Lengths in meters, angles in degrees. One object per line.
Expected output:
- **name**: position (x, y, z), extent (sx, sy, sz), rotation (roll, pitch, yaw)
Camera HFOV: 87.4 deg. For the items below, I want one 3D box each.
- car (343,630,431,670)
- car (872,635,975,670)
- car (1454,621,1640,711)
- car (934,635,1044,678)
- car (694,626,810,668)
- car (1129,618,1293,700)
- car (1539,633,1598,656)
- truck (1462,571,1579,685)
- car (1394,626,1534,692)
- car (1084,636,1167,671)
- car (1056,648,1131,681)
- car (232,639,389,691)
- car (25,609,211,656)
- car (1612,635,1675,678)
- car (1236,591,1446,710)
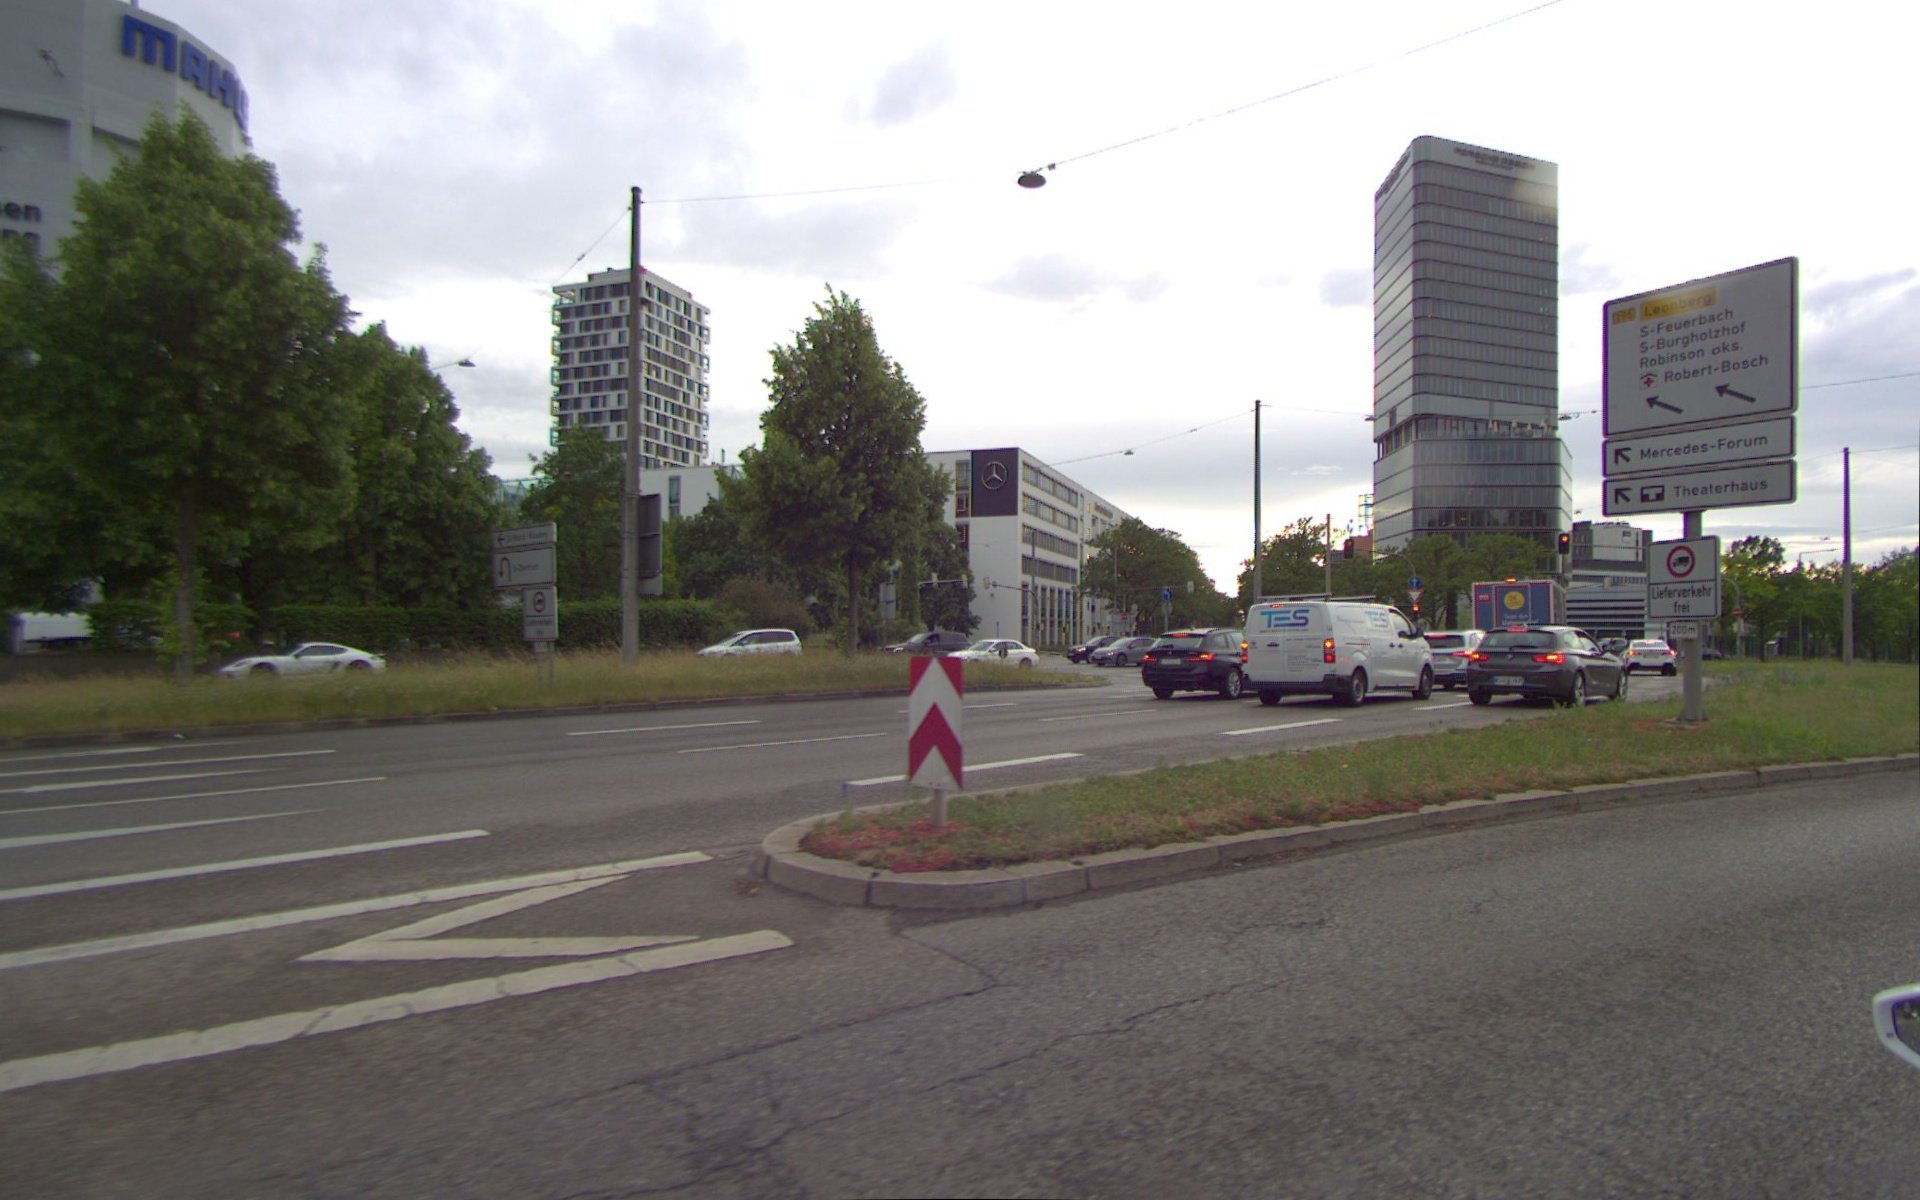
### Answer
- **car**: position (-31.813, 2.737, 55.800), extent (3.969, 2.040, 1.976), rotation (-1, 0, -41)
- **car**: position (-1.668, 2.404, 46.696), extent (4.533, 1.504, 1.918), rotation (1, -1, -35)
- **car**: position (10.933, 1.161, 18.599), extent (3.946, 1.480, 1.853), rotation (2, -2, -41)
- **car**: position (1.262, 2.348, 42.498), extent (4.565, 1.680, 1.878), rotation (1, -1, -39)
- **car**: position (-9.206, 2.055, 44.614), extent (4.706, 1.693, 1.977), rotation (1, 0, -40)
- **car**: position (5.458, 1.229, 21.541), extent (1.882, 1.584, 3.982), rotation (-3, -3, 39)
- **car**: position (45.215, 3.288, 74.651), extent (3.680, 1.639, 1.740), rotation (0, 0, -17)
- **truck**: position (18.129, 0.851, 32.283), extent (2.631, 3.262, 6.527), rotation (0, 0, 35)
- **car**: position (12.351, 1.394, 24.475), extent (1.819, 1.454, 4.495), rotation (-3, -4, 43)
- **car**: position (8.421, 2.708, 51.187), extent (3.861, 1.679, 1.822), rotation (1, -1, -26)
- **car**: position (7.427, 3.552, 55.797), extent (3.871, 1.679, 1.817), rotation (1, -1, -33)
- **car**: position (-20.257, 1.990, 31.412), extent (3.951, 1.410, 1.646), rotation (0, -1, -42)
- **car**: position (-42.258, 1.591, 50.614), extent (2.357, 2.159, 6.960), rotation (1, 0, 42)
- **car**: position (28.382, 2.329, 41.822), extent (1.891, 1.665, 4.383), rotation (0, -3, 30)
- **car**: position (7.448, 0.935, 19.337), extent (1.885, 1.998, 5.060), rotation (-3, -3, 45)
